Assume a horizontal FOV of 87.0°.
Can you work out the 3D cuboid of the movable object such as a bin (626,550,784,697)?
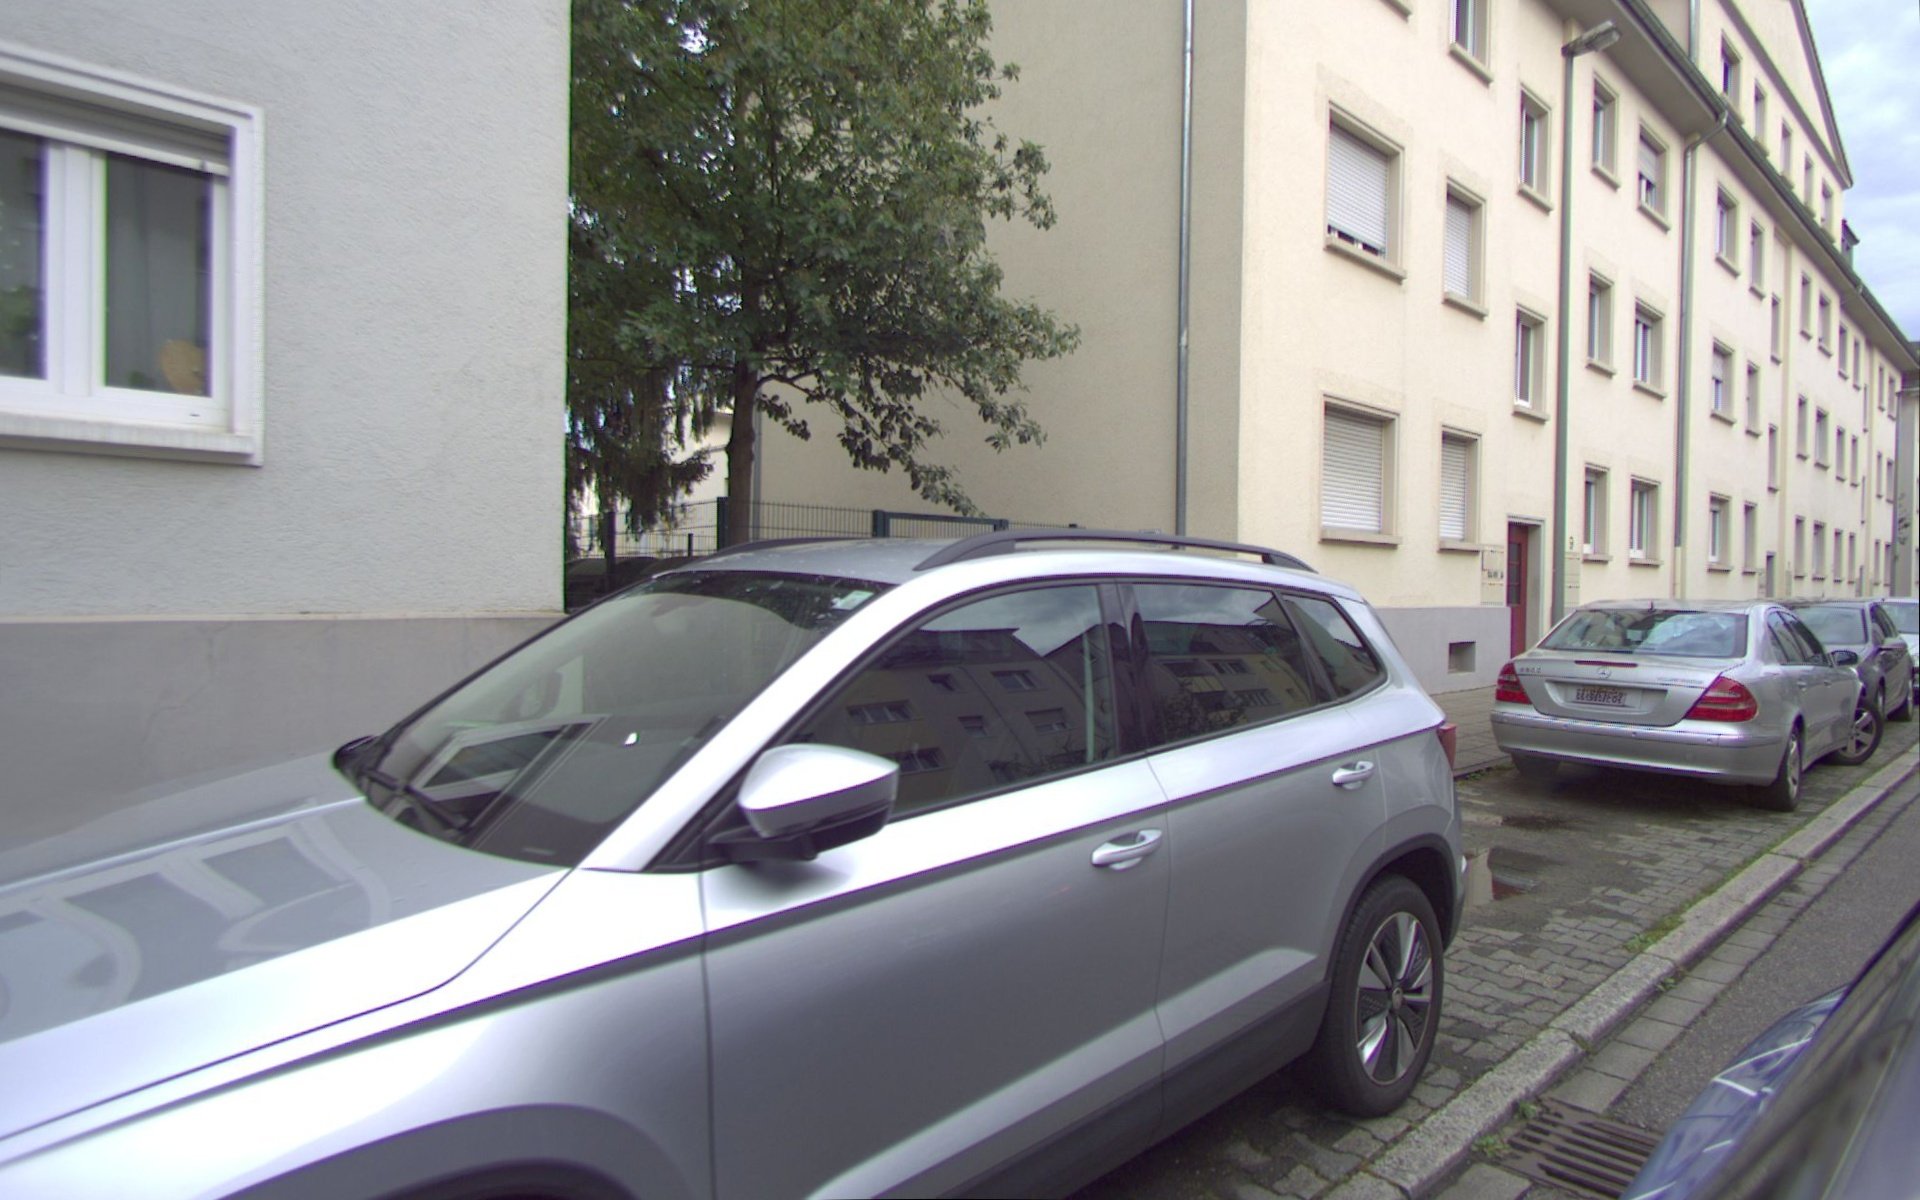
[{"bbox_3d":[-2.621,0.201,10.382,1.198,1.396,1.141,0,2,-38],"label":"movable object such as a bin"}]

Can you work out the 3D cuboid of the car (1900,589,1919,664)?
[{"bbox_3d":[21.591,0.566,21.708,3.991,1.536,1.728,0,1,-42],"label":"car"}]

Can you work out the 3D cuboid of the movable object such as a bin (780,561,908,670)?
[{"bbox_3d":[-1.595,0.177,13.862,1.283,1.396,1.194,0,2,-41],"label":"movable object such as a bin"}]

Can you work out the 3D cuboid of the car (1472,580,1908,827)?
[{"bbox_3d":[6.098,0.621,8.248,4.422,1.495,1.729,0,1,-38],"label":"car"}]

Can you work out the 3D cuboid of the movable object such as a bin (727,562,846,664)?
[{"bbox_3d":[-2.547,0.161,14.854,1.283,1.396,1.194,0,2,-41],"label":"movable object such as a bin"}]

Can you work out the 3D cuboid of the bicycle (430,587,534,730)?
[{"bbox_3d":[-4.044,0.444,8.511,0.488,1.076,1.452,0,1,-38],"label":"bicycle"}]

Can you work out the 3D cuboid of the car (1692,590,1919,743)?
[{"bbox_3d":[10.044,0.650,11.798,3.801,1.495,1.606,0,0,-41],"label":"car"}]

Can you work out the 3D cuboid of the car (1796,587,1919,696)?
[{"bbox_3d":[14.146,0.562,15.285,3.767,1.468,1.851,0,1,-42],"label":"car"}]

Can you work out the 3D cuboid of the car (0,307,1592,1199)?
[{"bbox_3d":[-0.045,0.538,2.775,4.018,1.662,1.824,0,2,-40],"label":"car"}]

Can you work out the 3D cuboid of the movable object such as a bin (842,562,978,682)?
[{"bbox_3d":[-0.630,0.245,12.724,1.283,1.396,1.111,0,2,-41],"label":"movable object such as a bin"}]

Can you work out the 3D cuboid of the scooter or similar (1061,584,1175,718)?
[{"bbox_3d":[1.580,0.477,10.301,0.512,1.261,1.284,1,1,-23],"label":"scooter or similar"}]

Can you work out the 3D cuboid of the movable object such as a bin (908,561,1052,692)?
[{"bbox_3d":[0.232,0.265,11.634,1.283,1.396,1.034,0,2,-41],"label":"movable object such as a bin"}]
